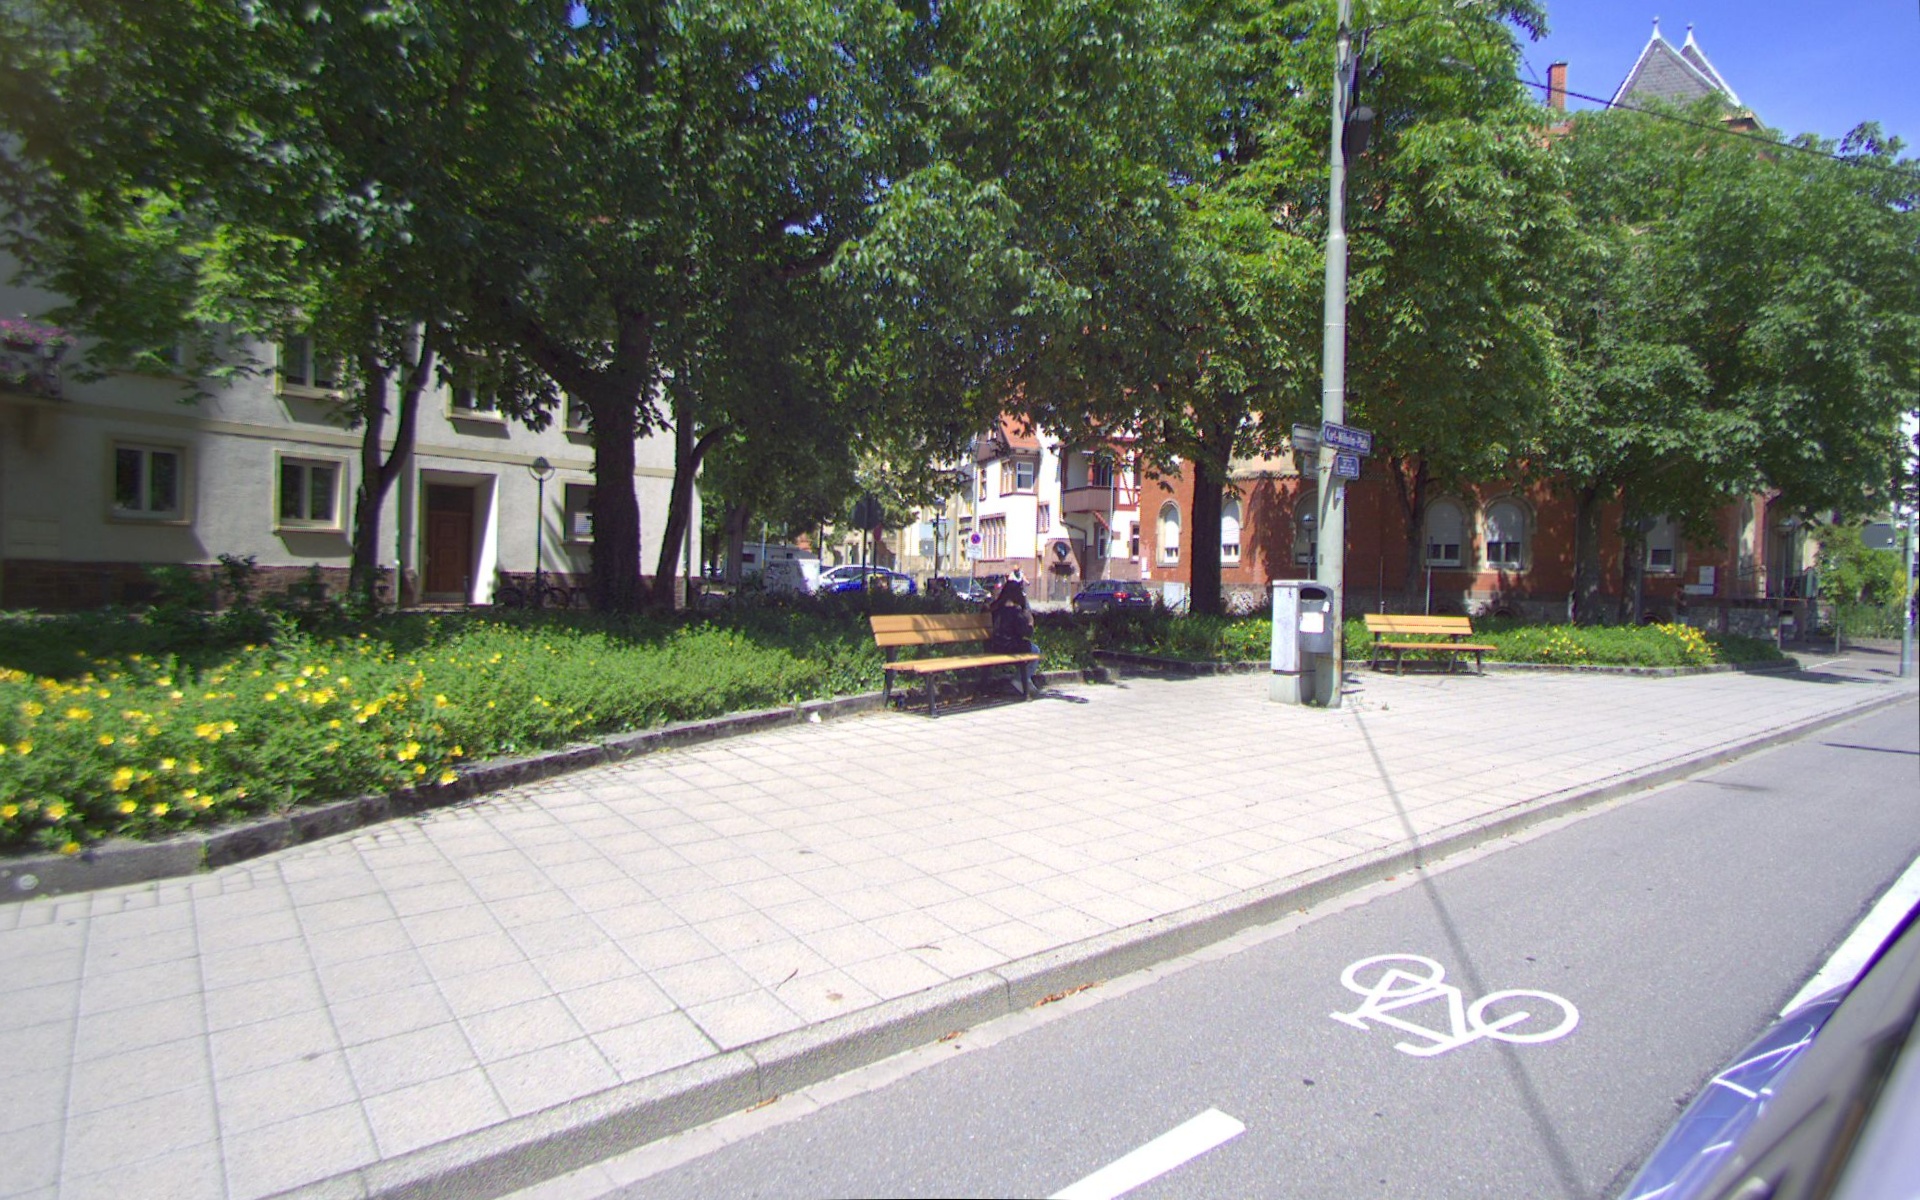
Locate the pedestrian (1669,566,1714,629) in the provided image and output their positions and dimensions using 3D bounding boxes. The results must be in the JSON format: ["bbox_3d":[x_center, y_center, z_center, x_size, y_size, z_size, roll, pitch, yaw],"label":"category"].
[{"bbox_3d":[21.751,-0.085,30.116,0.826,1.846,0.671,2,1,12],"label":"pedestrian"}]

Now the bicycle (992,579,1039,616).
[{"bbox_3d":[1.982,-0.112,36.941,0.935,1.279,3.751,0,0,-9],"label":"bicycle"}]

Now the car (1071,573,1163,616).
[{"bbox_3d":[6.270,-0.236,41.026,1.897,1.638,4.318,0,0,-19],"label":"car"}]

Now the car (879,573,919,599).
[{"bbox_3d":[-4.506,-1.013,74.462,1.897,1.897,4.318,0,0,-19],"label":"car"}]

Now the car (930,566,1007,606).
[{"bbox_3d":[0.305,-0.607,44.512,1.897,1.638,4.534,0,0,-20],"label":"car"}]

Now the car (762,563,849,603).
[{"bbox_3d":[-8.089,-0.889,52.938,4.219,2.029,1.942,0,0,-18],"label":"car"}]

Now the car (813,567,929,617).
[{"bbox_3d":[-3.549,-0.326,40.016,4.219,1.903,1.942,0,0,-18],"label":"car"}]

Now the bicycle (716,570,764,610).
[{"bbox_3d":[-5.873,-0.272,26.904,0.736,1.024,2.273,0,0,-26],"label":"bicycle"}]

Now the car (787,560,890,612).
[{"bbox_3d":[-5.376,-0.633,44.829,4.219,2.219,1.942,0,0,-18],"label":"car"}]

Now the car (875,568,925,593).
[{"bbox_3d":[-3.849,-1.211,64.296,1.897,1.501,5.046,0,0,-19],"label":"car"}]

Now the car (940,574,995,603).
[{"bbox_3d":[0.375,-0.660,58.682,1.897,1.638,4.318,0,0,-19],"label":"car"}]

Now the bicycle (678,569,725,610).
[{"bbox_3d":[-6.780,-0.263,26.475,0.736,1.024,2.273,0,0,-26],"label":"bicycle"}]

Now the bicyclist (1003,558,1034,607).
[{"bbox_3d":[2.094,-0.628,36.260,0.856,1.717,1.256,0,0,-9],"label":"bicyclist"}]

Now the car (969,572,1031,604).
[{"bbox_3d":[2.062,-0.624,54.075,1.897,1.638,4.318,0,0,-19],"label":"car"}]

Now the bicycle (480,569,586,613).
[{"bbox_3d":[-10.258,-0.226,24.376,2.230,1.024,0.751,-1,0,-41],"label":"bicycle"}]

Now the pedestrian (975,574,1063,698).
[{"bbox_3d":[0.593,0.335,10.075,0.562,1.156,0.718,3,2,33],"label":"pedestrian"}]
